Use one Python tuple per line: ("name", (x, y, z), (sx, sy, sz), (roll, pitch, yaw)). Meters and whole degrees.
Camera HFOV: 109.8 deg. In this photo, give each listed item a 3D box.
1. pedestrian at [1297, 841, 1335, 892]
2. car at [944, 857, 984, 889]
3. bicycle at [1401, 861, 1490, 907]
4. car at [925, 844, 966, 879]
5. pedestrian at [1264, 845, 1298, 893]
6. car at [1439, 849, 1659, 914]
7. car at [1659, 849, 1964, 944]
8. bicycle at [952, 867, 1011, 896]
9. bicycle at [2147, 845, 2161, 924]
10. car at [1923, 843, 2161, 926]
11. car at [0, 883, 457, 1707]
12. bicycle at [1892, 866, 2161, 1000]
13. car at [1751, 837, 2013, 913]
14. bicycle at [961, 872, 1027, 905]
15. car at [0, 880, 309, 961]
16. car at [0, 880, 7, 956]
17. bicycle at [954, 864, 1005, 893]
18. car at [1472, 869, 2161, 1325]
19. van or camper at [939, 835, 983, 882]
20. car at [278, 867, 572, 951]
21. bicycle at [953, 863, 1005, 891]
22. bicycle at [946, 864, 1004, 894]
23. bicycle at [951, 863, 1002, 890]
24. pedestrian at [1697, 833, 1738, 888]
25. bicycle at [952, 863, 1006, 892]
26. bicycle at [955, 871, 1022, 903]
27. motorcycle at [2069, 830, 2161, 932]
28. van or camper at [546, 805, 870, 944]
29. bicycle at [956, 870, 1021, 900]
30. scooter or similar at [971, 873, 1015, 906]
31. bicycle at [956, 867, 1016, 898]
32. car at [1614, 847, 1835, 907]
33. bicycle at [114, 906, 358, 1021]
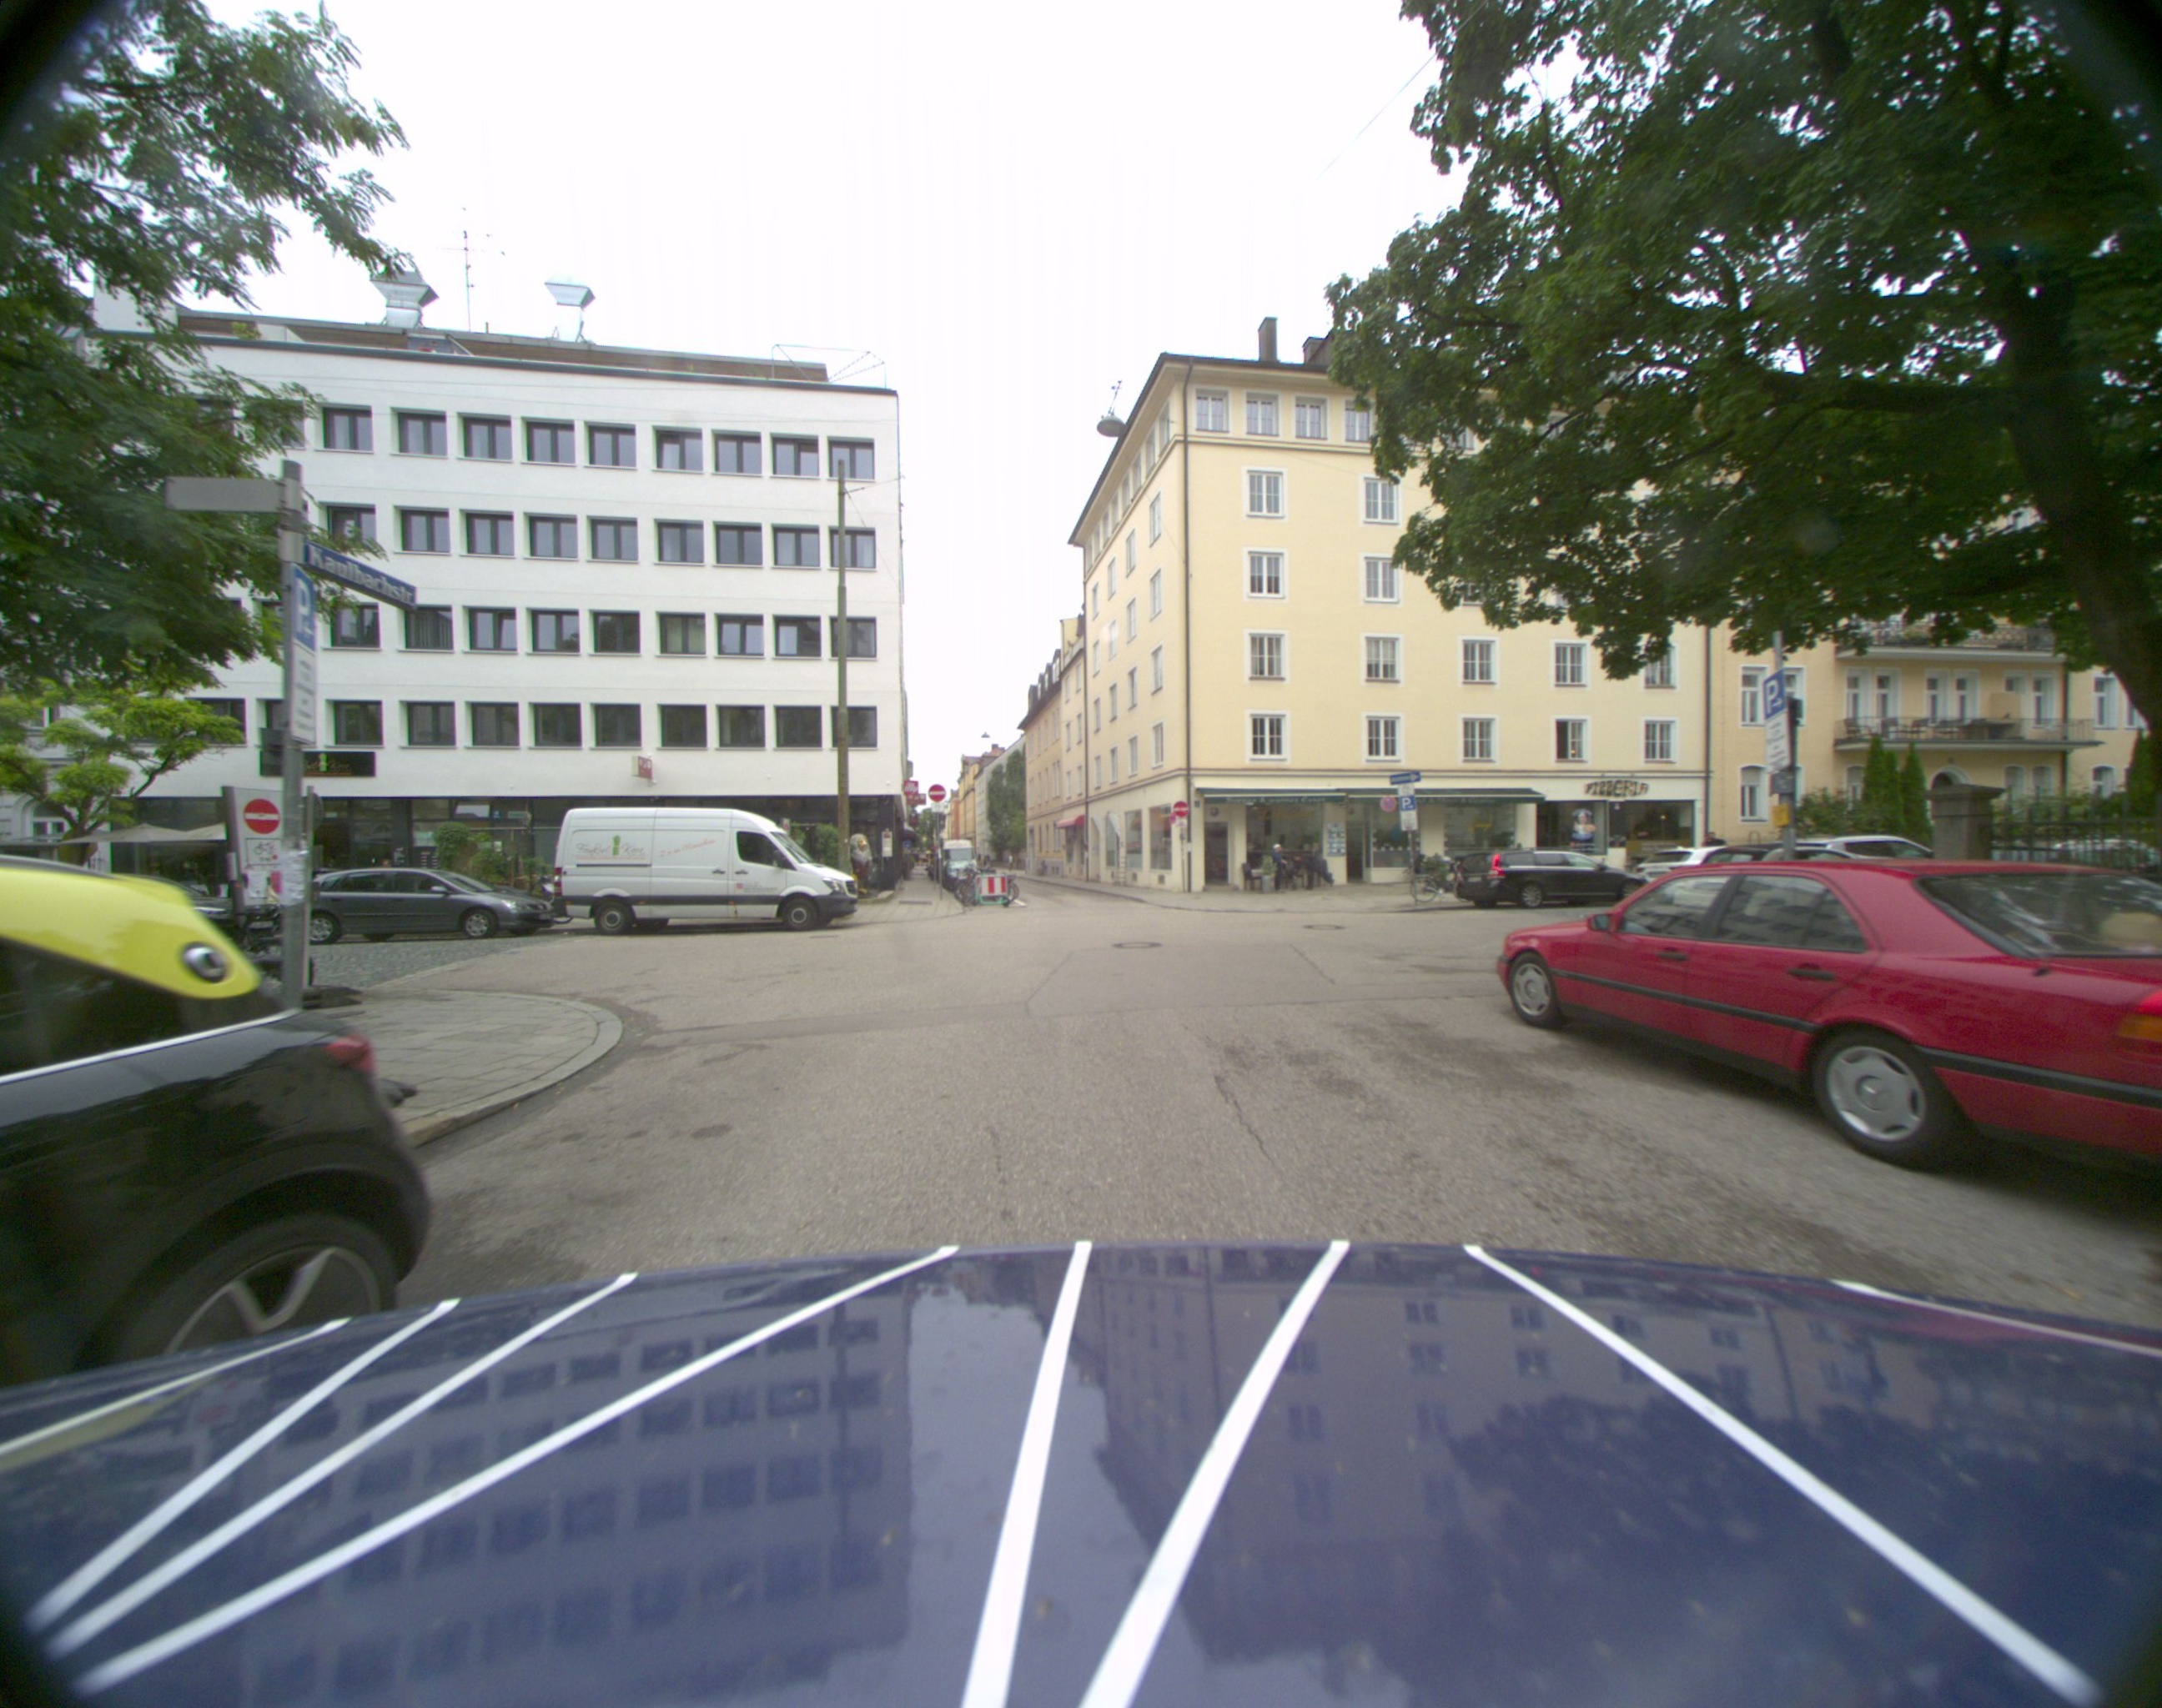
("pedestrian", (7.956, 0.423, 25.742), (1.123, 1.667, 0.871), (-1, 1, 11))
("car", (-5.642, 0.883, 36.515), (1.760, 1.386, 3.996), (-1, 0, -10))
("bicycle", (10.076, 0.821, 21.101), (2.149, 1.195, 0.811), (0, 1, 21))
("car", (-8.788, 0.476, 49.009), (2.001, 2.122, 3.993), (-1, 1, -18))
("pedestrian", (6.908, 0.517, 26.188), (0.920, 1.601, 0.777), (-1, 1, 31))
("car", (11.857, 0.726, 19.402), (4.490, 1.473, 2.028), (-1, -4, -9))
("car", (12.905, 0.681, 13.555), (3.999, 1.450, 1.792), (-1, 2, -7))
("bicycle", (-3.776, 1.026, 28.887), (2.154, 1.026, 0.974), (-1, 1, -11))
("bicycle", (12.318, 0.332, 6.823), (0.808, 0.852, 3.215), (-1, 0, -6))
("car", (18.334, 0.503, 14.023), (3.999, 1.353, 1.793), (-1, 1, -7))
("car", (-2.917, 0.960, 0.255), (1.841, 1.609, 4.094), (-4, 0, 2))
("bicycle", (9.971, 0.728, 7.483), (0.807, 1.157, 2.648), (-1, 0, -15))
("car", (17.898, 0.435, 17.076), (4.494, 1.513, 1.834), (-1, 1, -9))
("bicycle", (-2.792, 1.075, 24.300), (1.995, 0.958, 0.973), (-1, 1, -11))
("car", (-18.128, 1.264, 14.745), (4.169, 1.381, 1.795), (-1, -3, -7))
("car", (-23.491, 1.288, 14.185), (3.999, 1.528, 1.768), (-1, -2, -6))
("bicycle", (-4.157, 0.984, 31.027), (2.036, 1.139, 0.668), (-1, 1, -11))
("car", (4.398, 0.848, 4.637), (1.685, 1.385, 4.478), (0, 0, 0))
("van or camper", (-6.986, 0.252, 43.776), (1.968, 2.494, 5.716), (-1, 0, -14))
("car", (-13.162, 1.086, 15.538), (4.146, 1.476, 1.892), (-1, -3, -10))
("bicycle", (-4.465, 0.996, 33.135), (2.206, 1.139, 0.695), (-1, 1, -11))
("bicycle", (-4.226, 0.979, 30.200), (2.209, 1.139, 0.739), (-1, 1, -11))
("bicycle", (-4.658, 1.003, 33.832), (2.208, 1.139, 0.638), (-1, 1, -11))
("pedestrian", (21.381, 0.206, 25.526), (0.780, 1.779, 0.855), (-2, 1, -32))
("bicycle", (-4.264, 0.965, 31.789), (2.182, 1.139, 0.674), (-1, 1, -11))
("bicycle", (-3.120, 1.090, 25.527), (2.178, 0.971, 0.974), (-1, 1, -11))
("motorcycle", (14.654, 0.312, 9.848), (2.761, 1.264, 0.814), (-1, 1, -2))
("van or camper", (-7.814, 0.428, 16.535), (5.869, 2.697, 2.304), (-1, -2, -6))
("bicycle", (-3.259, 1.072, 26.678), (2.175, 0.958, 0.974), (-1, 1, -11))
("scooter or similar", (-2.692, 1.075, 23.242), (1.283, 0.970, 0.498), (-1, 1, -10))
("bicycle", (-3.479, 1.038, 27.758), (2.106, 1.026, 0.974), (-1, 1, -11))
("car", (16.941, 0.628, 20.118), (4.432, 1.417, 2.000), (-1, -4, -9))
("bicycle", (-9.093, 1.160, 8.213), (2.009, 1.124, 0.687), (-1, 1, 6))
